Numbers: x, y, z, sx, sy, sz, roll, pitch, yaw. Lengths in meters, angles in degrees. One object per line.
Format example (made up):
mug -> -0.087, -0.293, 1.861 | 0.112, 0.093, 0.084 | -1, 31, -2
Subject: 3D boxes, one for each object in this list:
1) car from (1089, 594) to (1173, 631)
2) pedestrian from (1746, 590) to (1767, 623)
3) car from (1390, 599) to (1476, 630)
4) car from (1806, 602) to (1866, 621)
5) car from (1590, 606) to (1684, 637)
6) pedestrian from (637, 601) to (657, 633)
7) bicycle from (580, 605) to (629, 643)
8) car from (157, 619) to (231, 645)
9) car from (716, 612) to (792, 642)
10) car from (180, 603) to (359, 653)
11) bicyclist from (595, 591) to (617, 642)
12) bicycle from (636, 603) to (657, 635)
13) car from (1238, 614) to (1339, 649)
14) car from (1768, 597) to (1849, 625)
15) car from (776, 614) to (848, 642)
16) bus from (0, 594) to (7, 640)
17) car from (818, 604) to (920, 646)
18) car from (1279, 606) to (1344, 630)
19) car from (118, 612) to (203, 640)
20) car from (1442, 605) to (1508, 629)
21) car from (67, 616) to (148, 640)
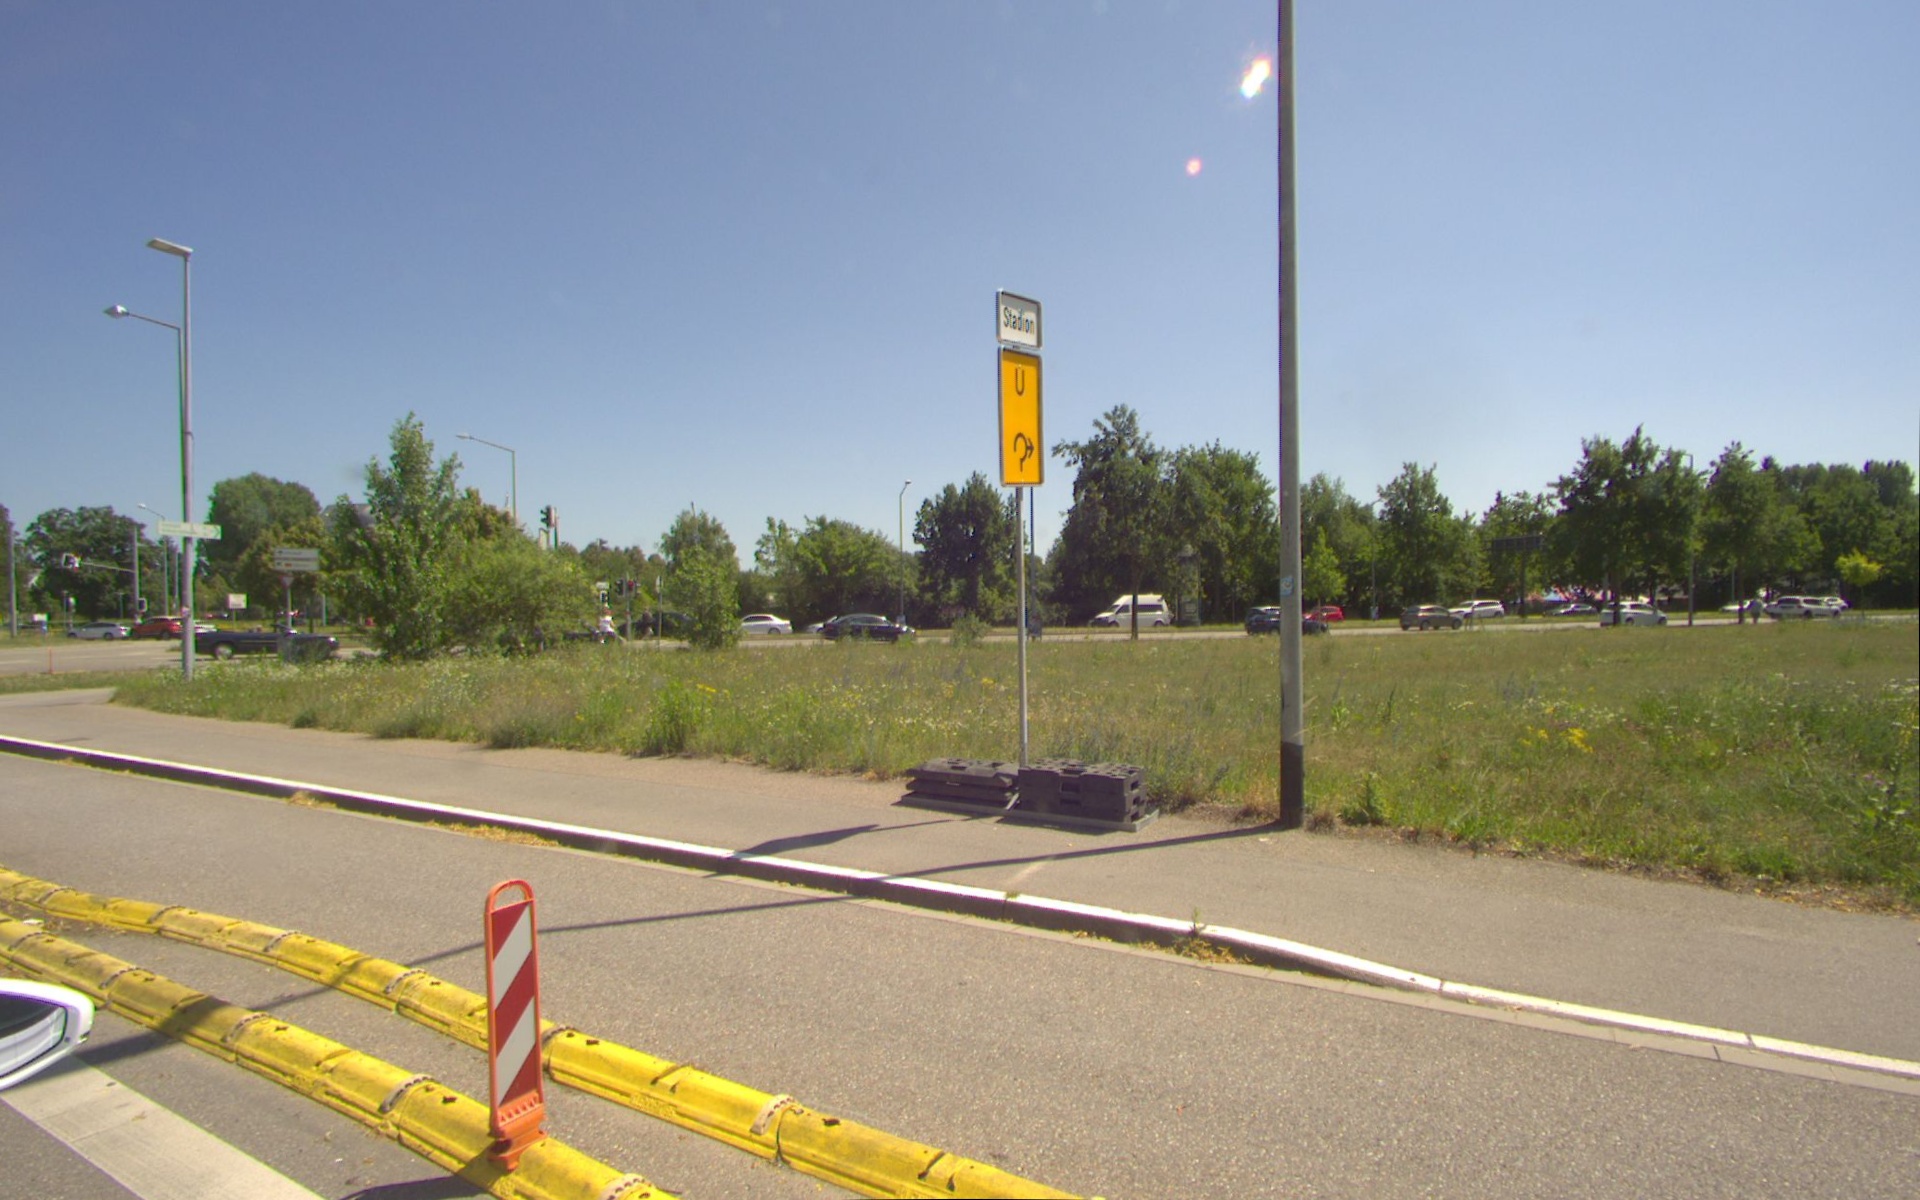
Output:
car -> 11.565, 0.861, 67.827 | 5.233, 2.427, 1.991 | 0, -2, -16
pedestrian -> 39.270, 0.339, 49.396 | 0.548, 1.611, 0.662 | 1, -1, -32
car -> 28.488, 0.901, 60.333 | 4.563, 1.758, 1.997 | 1, -2, -18
car -> 76.276, 1.023, 87.216 | 4.365, 1.612, 1.846 | 0, -2, -16
car -> 39.733, 1.299, 58.816 | 4.559, 1.758, 1.999 | 0, -2, -13
pedestrian -> -16.702, 0.909, 53.418 | 0.954, 1.681, 0.885 | 0, -1, -16
bicycle -> -13.152, 0.904, 37.152 | 0.628, 1.370, 2.896 | 0, -2, 4
car -> -54.858, 2.289, 71.740 | 3.922, 1.794, 1.787 | 0, -2, -1
car -> -12.526, 1.664, 60.852 | 4.365, 1.758, 1.846 | 0, -2, -16
car -> -25.726, 1.058, 37.438 | 5.279, 1.758, 1.981 | 2, -2, -44
bicyclist -> -13.148, 0.625, 37.163 | 0.597, 1.864, 0.572 | 0, -1, 2
bicycle -> -16.746, 1.044, 53.556 | 0.967, 1.617, 2.879 | 0, -2, -16
car -> 16.948, 1.629, 51.702 | 4.559, 1.758, 1.999 | 0, -2, -13
car -> 55.736, 0.739, 65.779 | 4.563, 1.758, 1.997 | 1, -2, -18
car -> -9.596, 1.802, 64.854 | 4.365, 1.758, 1.846 | 0, -2, -16
bus -> -71.159, 1.156, 69.284 | 7.152, 3.213, 2.256 | 1, -2, -19
car -> -4.411, 1.214, 48.341 | 4.564, 1.961, 1.996 | 1, -2, -19
car -> 26.537, 1.344, 75.659 | 4.365, 1.758, 1.846 | 0, -2, -16
car -> -52.886, 1.733, 66.277 | 4.359, 1.758, 1.849 | 0, -2, 7
car -> 38.988, 1.319, 75.768 | 4.365, 1.758, 1.846 | 0, -2, -16
car -> -65.253, 2.139, 76.718 | 4.361, 1.758, 1.848 | 0, -2, -10
